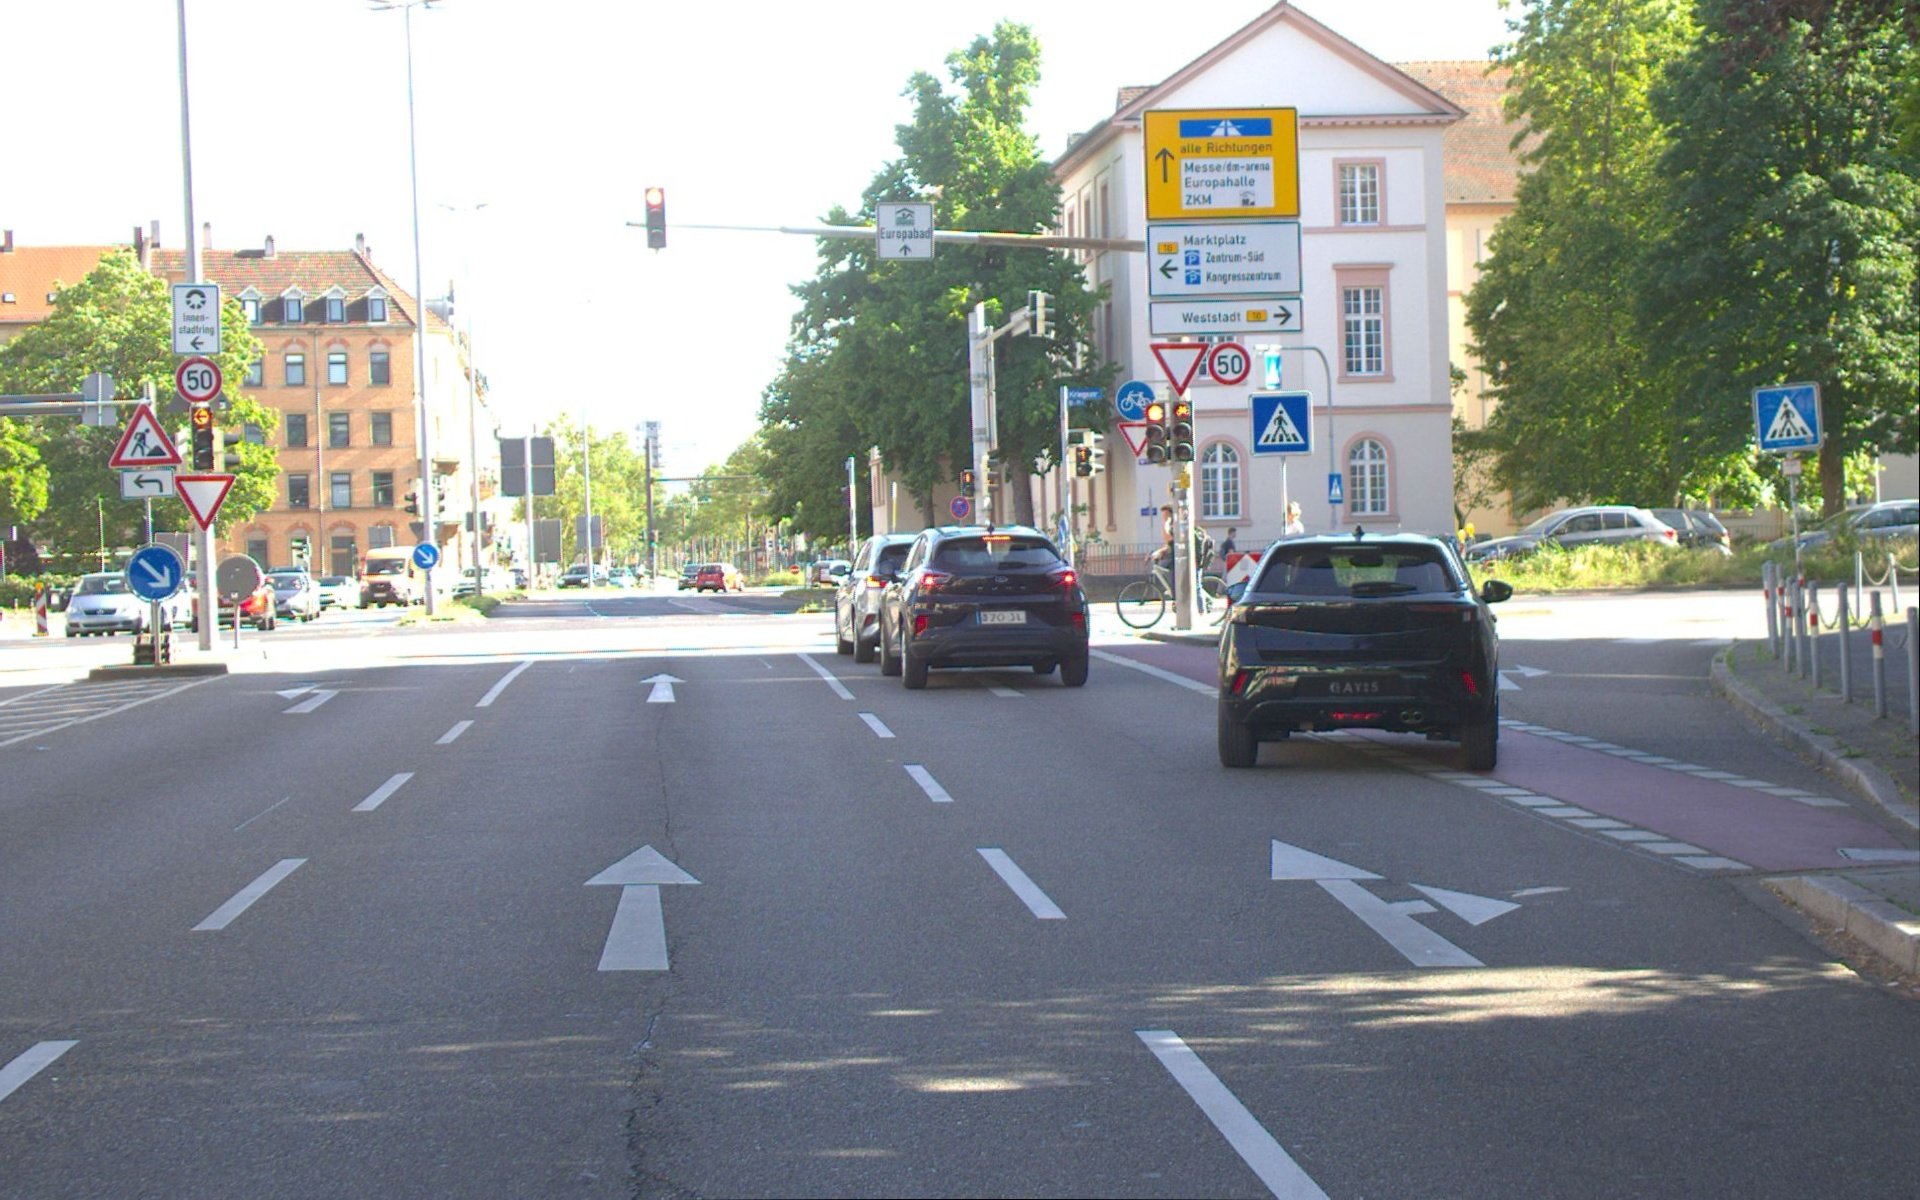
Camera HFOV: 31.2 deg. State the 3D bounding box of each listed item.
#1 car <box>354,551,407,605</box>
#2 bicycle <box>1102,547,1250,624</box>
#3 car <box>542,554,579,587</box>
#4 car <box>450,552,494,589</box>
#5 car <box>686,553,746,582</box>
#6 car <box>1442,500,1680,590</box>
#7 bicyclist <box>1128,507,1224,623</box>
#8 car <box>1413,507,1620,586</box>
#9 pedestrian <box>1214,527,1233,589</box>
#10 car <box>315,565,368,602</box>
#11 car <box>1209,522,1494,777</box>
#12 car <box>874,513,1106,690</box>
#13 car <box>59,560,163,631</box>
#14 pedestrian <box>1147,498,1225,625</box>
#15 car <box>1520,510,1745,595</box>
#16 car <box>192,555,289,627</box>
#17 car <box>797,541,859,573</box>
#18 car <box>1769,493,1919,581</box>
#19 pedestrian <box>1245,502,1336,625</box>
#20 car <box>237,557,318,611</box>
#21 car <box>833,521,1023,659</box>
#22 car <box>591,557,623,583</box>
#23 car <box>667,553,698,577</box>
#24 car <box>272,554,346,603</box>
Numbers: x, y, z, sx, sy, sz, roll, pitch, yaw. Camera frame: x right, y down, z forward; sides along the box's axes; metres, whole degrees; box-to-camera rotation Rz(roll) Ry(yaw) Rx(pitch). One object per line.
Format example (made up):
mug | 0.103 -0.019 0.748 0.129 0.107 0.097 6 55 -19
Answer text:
car | -23.693 -0.912 140.734 1.810 2.127 4.001 -2 1 -6
bicycle | 3.096 -0.213 49.272 2.031 1.057 0.622 -1 1 -20
car | -20.919 -1.573 180.312 1.810 1.628 4.001 -2 1 -6
car | -22.762 -1.382 160.314 1.810 1.628 4.001 -2 1 -6
car | -12.649 -1.702 178.644 1.811 1.402 3.997 -1 1 16
car | 11.626 -1.073 66.602 4.113 1.596 1.823 -2 1 -12
bicyclist | 3.088 -0.509 49.246 1.165 1.628 0.729 -1 1 -19
car | 12.383 -1.196 76.585 4.113 1.596 1.823 -2 1 -12
pedestrian | 6.816 -1.084 89.077 0.440 1.610 0.467 1 0 1
car | -26.323 -0.708 146.428 1.874 1.443 4.001 -2 1 -6
car | 2.621 0.279 23.006 1.746 1.568 3.557 0 1 7
car | 0.234 -0.027 33.614 1.830 1.573 3.840 -2 1 -5
car | -20.783 -0.126 84.315 1.874 1.611 4.001 -2 1 -6
pedestrian | 3.070 -0.531 46.833 0.825 1.696 0.918 -1 1 -11
car | 13.792 -0.977 70.594 4.113 1.596 1.823 -2 1 -12
car | -17.306 -0.245 82.809 1.791 1.611 4.001 -2 1 -5
car | -7.426 -2.421 193.315 2.177 1.692 3.997 -1 1 18
car | 18.318 -1.271 68.124 3.986 1.638 1.924 -2 1 -10
pedestrian | 4.586 -0.513 47.709 1.040 1.654 0.784 -2 1 -8
car | -19.689 -0.466 99.284 1.874 1.443 4.001 -2 1 -6
car | -0.423 -0.151 39.701 1.830 1.447 3.989 -2 1 -5
car | -20.679 -1.774 201.536 1.810 1.443 4.001 -2 1 -6
car | -17.558 -2.227 217.421 1.810 1.443 4.001 -2 1 -6
car | -20.495 -0.689 108.349 1.874 1.443 4.001 -2 1 -6
